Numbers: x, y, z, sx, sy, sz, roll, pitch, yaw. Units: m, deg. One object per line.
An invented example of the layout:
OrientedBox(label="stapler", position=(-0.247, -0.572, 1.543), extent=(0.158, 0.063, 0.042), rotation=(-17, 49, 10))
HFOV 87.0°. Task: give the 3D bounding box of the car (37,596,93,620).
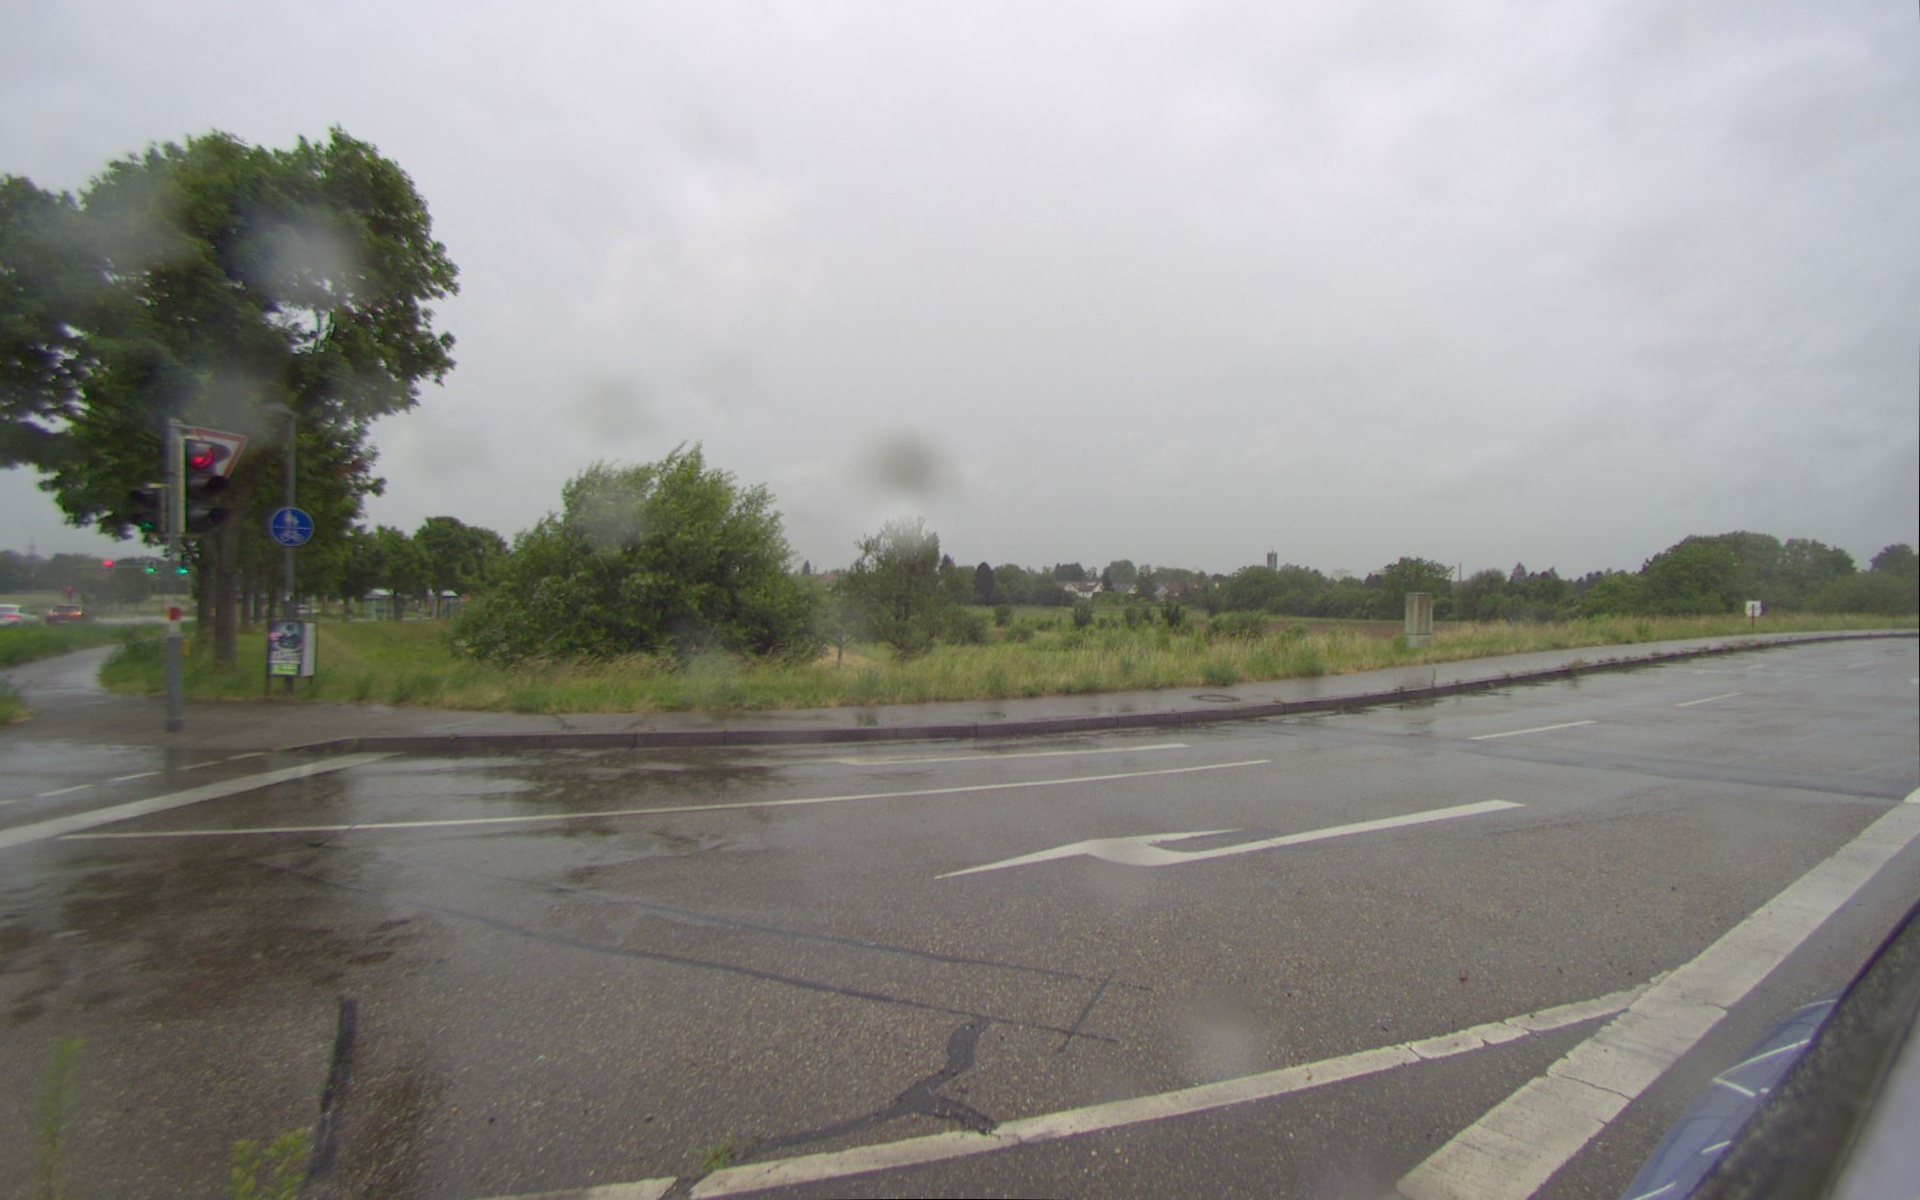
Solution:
OrientedBox(label="car", position=(-53.926, 0.459, 61.036), extent=(1.843, 1.371, 4.055), rotation=(0, 1, -32))

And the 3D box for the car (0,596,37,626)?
OrientedBox(label="car", position=(-46.814, 0.516, 49.420), extent=(1.843, 1.371, 4.055), rotation=(0, 1, -32))
